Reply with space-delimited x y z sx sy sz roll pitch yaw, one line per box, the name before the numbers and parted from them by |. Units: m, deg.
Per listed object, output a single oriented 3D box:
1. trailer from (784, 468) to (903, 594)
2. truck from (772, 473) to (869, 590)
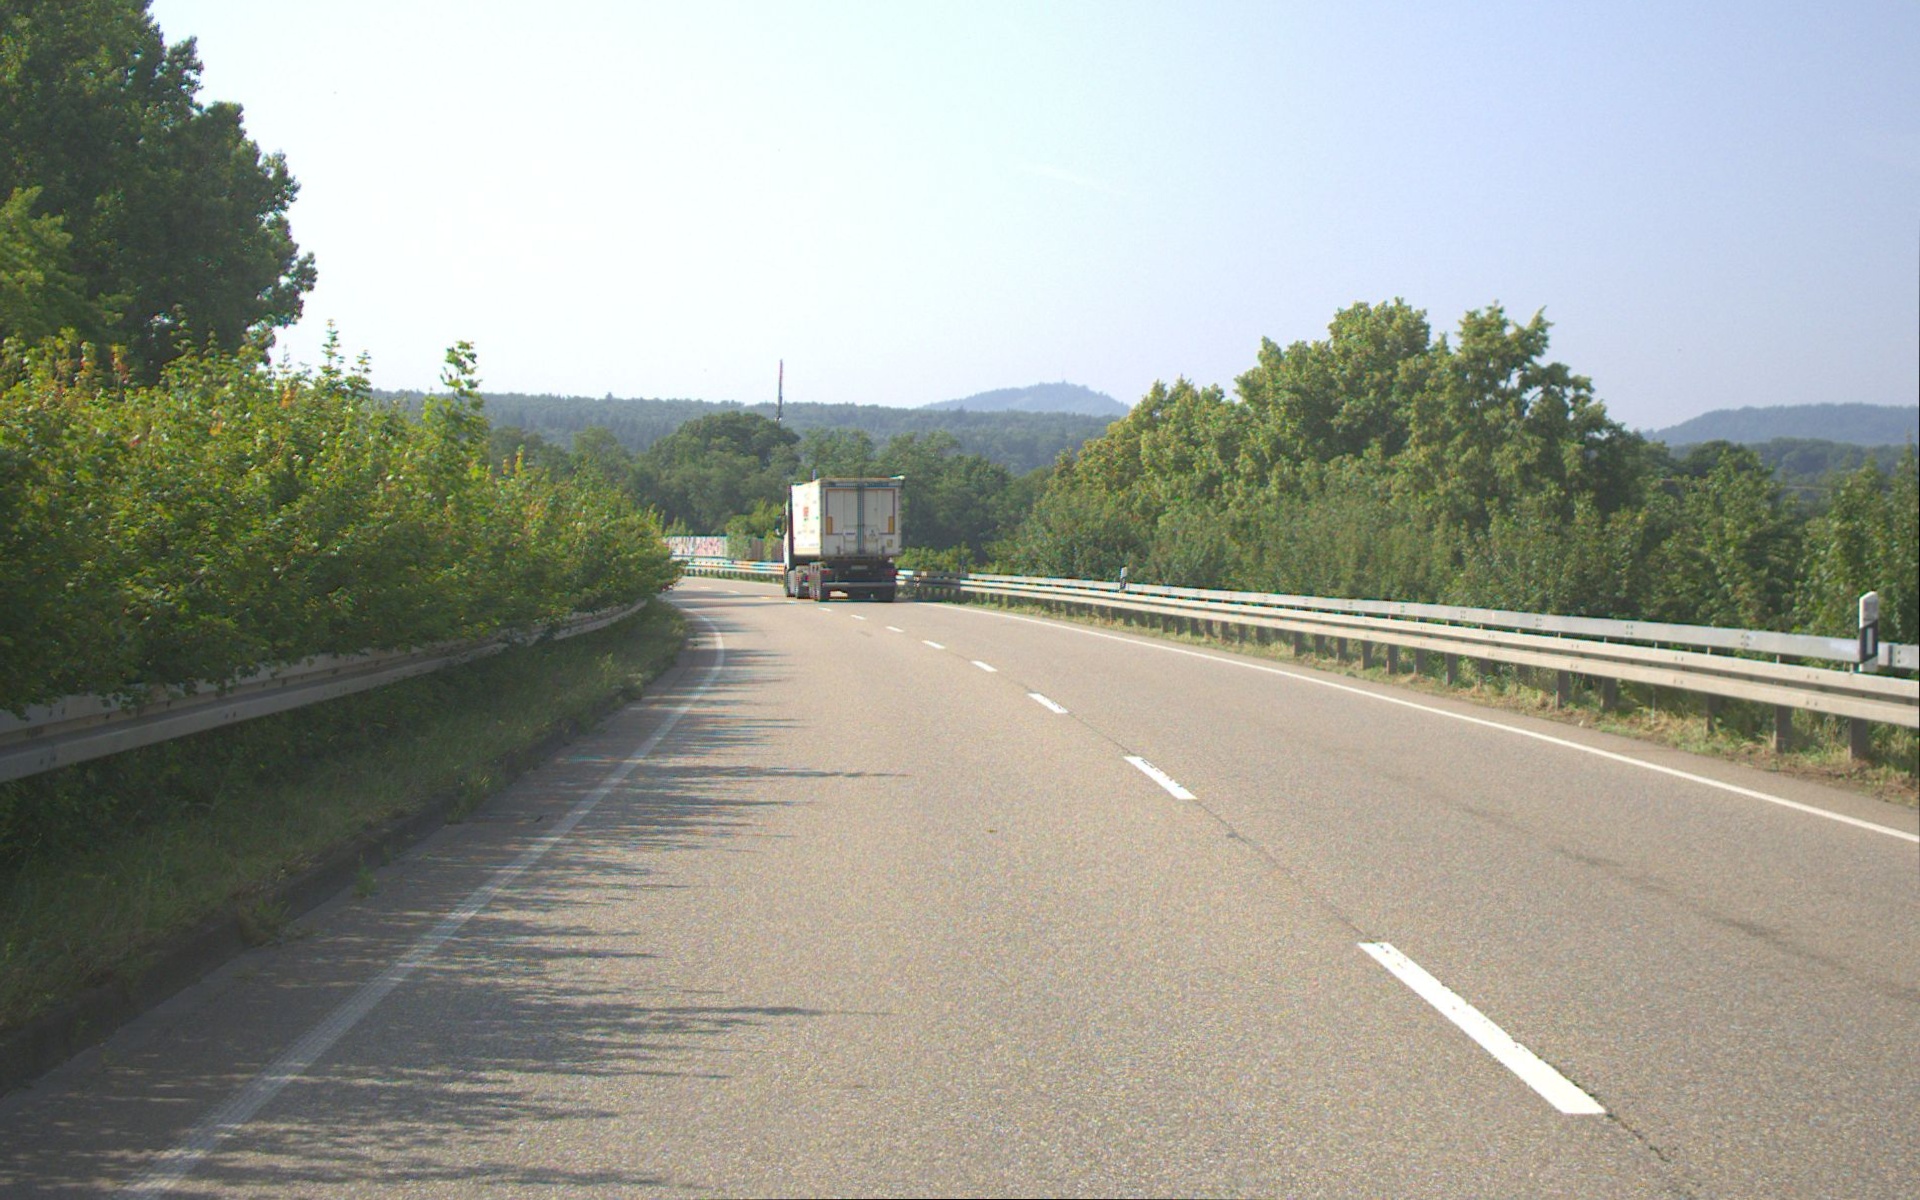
trailer | -3.837 -2.213 110.981 2.679 3.894 9.675 0 1 -9
truck | -4.766 -2.337 116.879 2.658 3.882 5.649 0 1 -9
